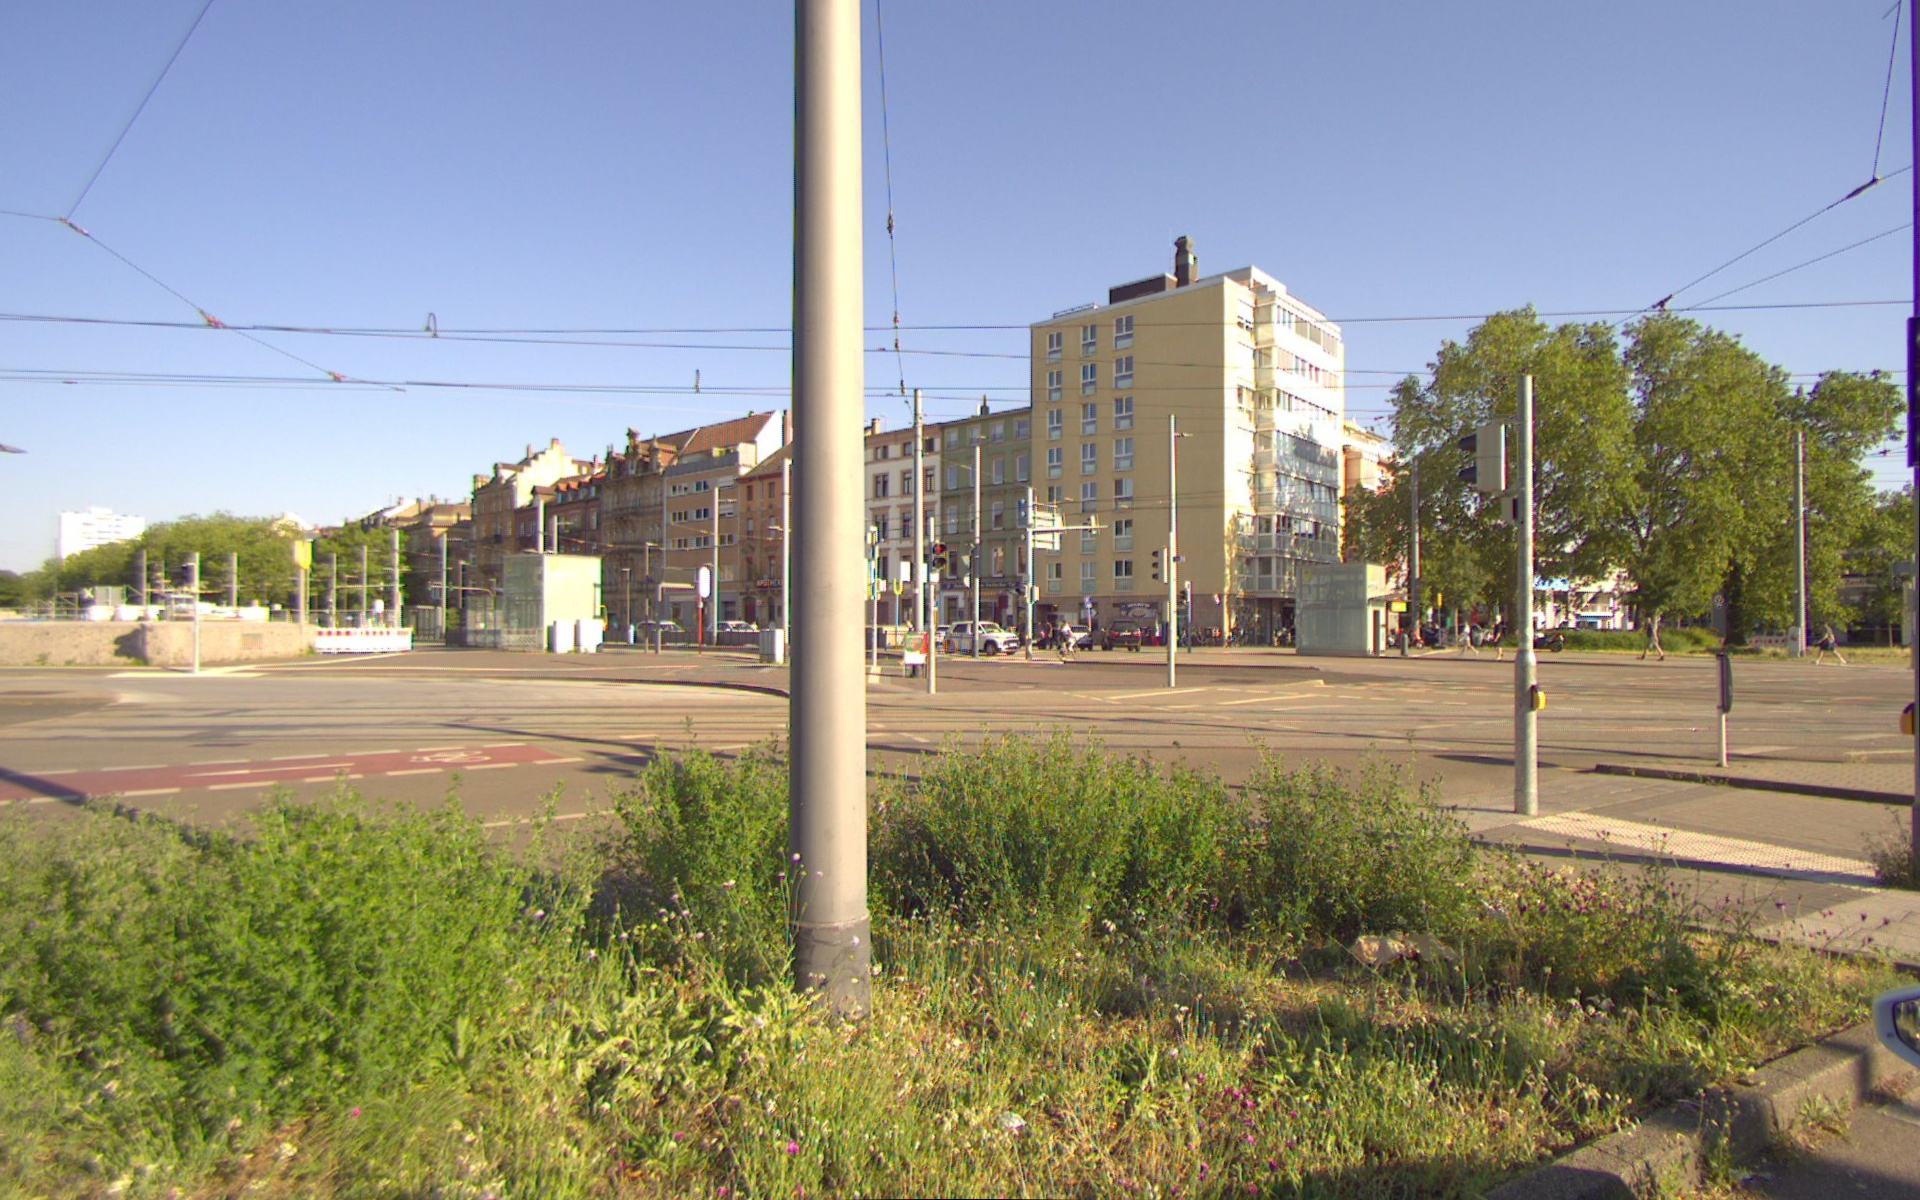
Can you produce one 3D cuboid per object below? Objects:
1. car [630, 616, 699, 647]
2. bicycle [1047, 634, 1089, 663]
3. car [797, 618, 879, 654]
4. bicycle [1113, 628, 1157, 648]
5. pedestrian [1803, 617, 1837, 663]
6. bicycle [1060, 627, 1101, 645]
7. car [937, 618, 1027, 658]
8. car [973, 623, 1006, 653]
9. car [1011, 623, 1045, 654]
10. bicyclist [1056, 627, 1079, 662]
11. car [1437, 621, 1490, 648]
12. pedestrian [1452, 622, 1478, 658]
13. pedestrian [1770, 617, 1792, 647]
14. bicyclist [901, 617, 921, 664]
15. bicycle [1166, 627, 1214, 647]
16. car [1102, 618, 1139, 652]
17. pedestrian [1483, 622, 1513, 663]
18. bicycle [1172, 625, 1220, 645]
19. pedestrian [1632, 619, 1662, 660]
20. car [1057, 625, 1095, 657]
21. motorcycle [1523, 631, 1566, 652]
[{"bbox_3d":[-19.220,2.025,65.266,4.837,1.849,1.990,2,0,41],"label":"car"},{"bbox_3d":[4.376,1.959,40.695,0.617,1.104,1.914,2,0,44],"label":"bicycle"},{"bbox_3d":[-6.558,1.902,53.804,4.654,1.684,1.776,1,0,43],"label":"car"},{"bbox_3d":[11.505,2.465,66.074,3.003,1.167,0.637,1,0,44],"label":"bicycle"},{"bbox_3d":[36.030,1.671,42.105,0.747,1.911,0.793,2,0,-22],"label":"pedestrian"},{"bbox_3d":[8.238,2.461,69.026,3.003,1.167,0.637,1,0,44],"label":"bicycle"},{"bbox_3d":[0.989,1.757,47.067,3.938,1.684,1.779,2,0,39],"label":"car"},{"bbox_3d":[1.900,2.385,63.841,1.960,1.728,4.001,2,0,4],"label":"car"},{"bbox_3d":[4.145,2.310,61.476,1.960,1.728,4.001,2,0,4],"label":"car"},{"bbox_3d":[4.352,1.808,40.649,0.617,1.368,0.658,2,0,44],"label":"bicyclist"},{"bbox_3d":[32.004,2.202,63.811,3.973,1.588,1.753,2,0,-44],"label":"car"},{"bbox_3d":[24.433,1.929,48.568,0.747,1.728,0.793,2,0,-22],"label":"pedestrian"},{"bbox_3d":[48.267,1.884,59.034,0.491,1.716,0.852,2,0,-32],"label":"pedestrian"},{"bbox_3d":[-1.835,1.498,37.726,0.653,1.706,0.980,2,0,2],"label":"bicyclist"},{"bbox_3d":[14.436,2.315,63.213,3.003,1.167,0.637,1,0,44],"label":"bicycle"},{"bbox_3d":[9.146,1.967,57.481,1.684,1.728,4.001,2,0,4],"label":"car"},{"bbox_3d":[23.007,1.822,42.962,0.747,1.728,0.793,2,0,-22],"label":"pedestrian"},{"bbox_3d":[14.946,2.194,63.646,3.003,1.167,0.637,1,0,44],"label":"bicycle"},{"bbox_3d":[30.271,1.737,44.278,0.747,1.728,0.793,2,0,-22],"label":"pedestrian"},{"bbox_3d":[6.801,2.381,59.288,1.960,1.728,4.001,2,0,4],"label":"car"},{"bbox_3d":[29.140,2.056,50.111,1.753,0.926,0.676,2,0,41],"label":"motorcycle"}]
